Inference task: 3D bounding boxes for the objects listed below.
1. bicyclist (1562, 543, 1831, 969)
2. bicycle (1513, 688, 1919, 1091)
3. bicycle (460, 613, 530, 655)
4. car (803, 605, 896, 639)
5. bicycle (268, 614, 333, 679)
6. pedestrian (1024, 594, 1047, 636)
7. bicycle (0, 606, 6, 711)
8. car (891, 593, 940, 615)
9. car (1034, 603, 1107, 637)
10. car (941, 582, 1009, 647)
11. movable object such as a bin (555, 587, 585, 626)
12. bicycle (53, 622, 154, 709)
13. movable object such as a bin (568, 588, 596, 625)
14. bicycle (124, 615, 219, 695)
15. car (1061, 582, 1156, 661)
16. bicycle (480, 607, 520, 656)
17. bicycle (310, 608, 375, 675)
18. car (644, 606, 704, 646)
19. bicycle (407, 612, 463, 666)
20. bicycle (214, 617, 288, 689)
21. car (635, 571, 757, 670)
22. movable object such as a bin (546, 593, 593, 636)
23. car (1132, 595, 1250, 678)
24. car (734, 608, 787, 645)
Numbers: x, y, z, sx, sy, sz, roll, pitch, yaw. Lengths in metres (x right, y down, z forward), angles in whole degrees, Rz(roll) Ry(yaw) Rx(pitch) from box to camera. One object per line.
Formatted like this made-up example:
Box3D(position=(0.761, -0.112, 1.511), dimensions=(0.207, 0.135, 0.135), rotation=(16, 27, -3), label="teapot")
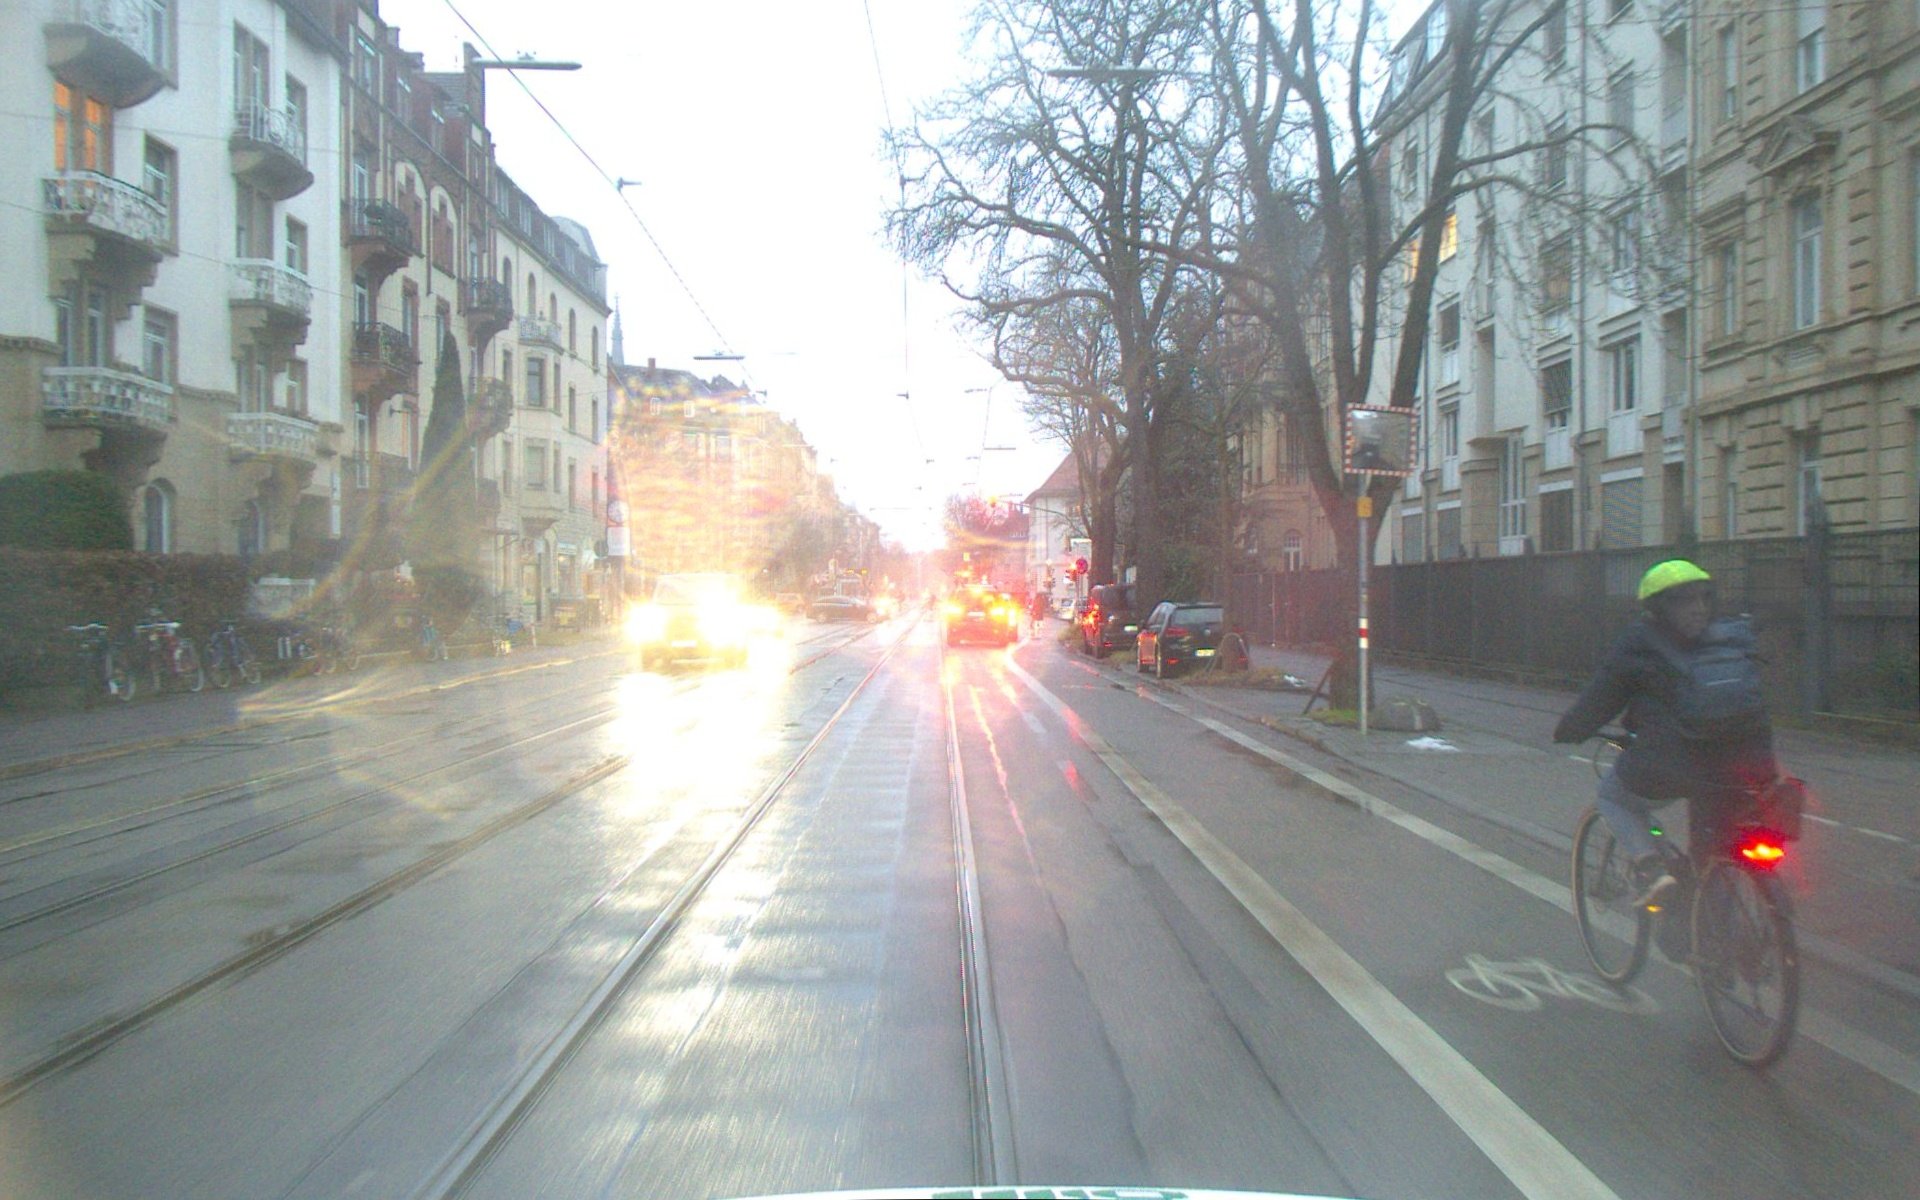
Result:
Box3D(position=(2.704, 0.536, 6.151), dimensions=(0.642, 1.471, 0.850), rotation=(-1, 1, 2), label="bicyclist")
Box3D(position=(2.719, 0.959, 6.176), dimensions=(0.692, 1.116, 2.030), rotation=(-1, 1, 2), label="bicycle")
Box3D(position=(-12.856, 0.934, 45.736), dimensions=(1.771, 1.099, 0.615), rotation=(-1, 1, -8), label="bicycle")
Box3D(position=(-5.921, 1.165, 89.001), dimensions=(4.842, 1.747, 1.698), rotation=(-1, 1, 2), label="car")
Box3D(position=(-10.944, 0.757, 27.488), dimensions=(0.679, 1.049, 1.593), rotation=(-1, 0, -10), label="bicycle")
Box3D(position=(3.726, 0.746, 81.502), dimensions=(1.002, 2.049, 0.918), rotation=(-1, 1, -4), label="pedestrian")
Box3D(position=(-12.556, 0.721, 20.166), dimensions=(1.556, 1.286, 0.490), rotation=(-1, -4, 3), label="bicycle")
Box3D(position=(-3.715, 0.343, 138.541), dimensions=(3.913, 1.747, 1.900), rotation=(-1, 1, -9), label="car")
Box3D(position=(6.027, 1.102, 90.723), dimensions=(3.905, 1.758, 1.740), rotation=(-1, 1, 1), label="car")
Box3D(position=(0.420, 0.468, 51.681), dimensions=(1.953, 1.930, 4.757), rotation=(1, -1, -2), label="car")
Box3D(position=(-16.992, 0.277, 72.088), dimensions=(0.993, 1.628, 1.081), rotation=(-1, 1, 1), label="movable object such as a bin")
Box3D(position=(-10.851, 0.849, 20.996), dimensions=(0.679, 1.049, 1.591), rotation=(-1, -3, -10), label="bicycle")
Box3D(position=(-17.037, 0.280, 74.538), dimensions=(0.993, 1.628, 1.081), rotation=(-1, 1, 1), label="movable object such as a bin")
Box3D(position=(-10.896, 0.776, 22.917), dimensions=(0.679, 1.049, 1.594), rotation=(-1, -3, -6), label="bicycle")
Box3D(position=(3.891, 0.518, 44.163), dimensions=(1.953, 1.933, 5.026), rotation=(-1, 1, -2), label="car")
Box3D(position=(-11.043, 0.738, 39.738), dimensions=(0.602, 1.099, 1.809), rotation=(-1, 1, -5), label="bicycle")
Box3D(position=(-10.950, 0.720, 29.383), dimensions=(0.476, 1.119, 1.930), rotation=(-1, 0, -2), label="bicycle")
Box3D(position=(-11.568, 1.043, 67.087), dimensions=(1.796, 1.472, 4.000), rotation=(-1, 1, -1), label="car")
Box3D(position=(-10.919, 0.800, 34.440), dimensions=(0.613, 1.035, 1.805), rotation=(-1, 1, -2), label="bicycle")
Box3D(position=(-10.894, 0.807, 25.466), dimensions=(0.679, 1.049, 1.592), rotation=(-1, -1, -10), label="bicycle")
Box3D(position=(-5.622, 0.373, 35.822), dimensions=(2.005, 1.955, 5.098), rotation=(-1, 1, -2), label="car")
Box3D(position=(-14.430, 0.526, 61.138), dimensions=(1.380, 1.557, 1.364), rotation=(-1, 1, -1), label="movable object such as a bin")
Box3D(position=(4.487, 0.672, 32.581), dimensions=(1.643, 1.485, 4.041), rotation=(-1, 0, -2), label="car")
Box3D(position=(-7.337, 0.949, 61.222), dimensions=(1.627, 1.219, 3.873), rotation=(-1, 1, -2), label="car")
